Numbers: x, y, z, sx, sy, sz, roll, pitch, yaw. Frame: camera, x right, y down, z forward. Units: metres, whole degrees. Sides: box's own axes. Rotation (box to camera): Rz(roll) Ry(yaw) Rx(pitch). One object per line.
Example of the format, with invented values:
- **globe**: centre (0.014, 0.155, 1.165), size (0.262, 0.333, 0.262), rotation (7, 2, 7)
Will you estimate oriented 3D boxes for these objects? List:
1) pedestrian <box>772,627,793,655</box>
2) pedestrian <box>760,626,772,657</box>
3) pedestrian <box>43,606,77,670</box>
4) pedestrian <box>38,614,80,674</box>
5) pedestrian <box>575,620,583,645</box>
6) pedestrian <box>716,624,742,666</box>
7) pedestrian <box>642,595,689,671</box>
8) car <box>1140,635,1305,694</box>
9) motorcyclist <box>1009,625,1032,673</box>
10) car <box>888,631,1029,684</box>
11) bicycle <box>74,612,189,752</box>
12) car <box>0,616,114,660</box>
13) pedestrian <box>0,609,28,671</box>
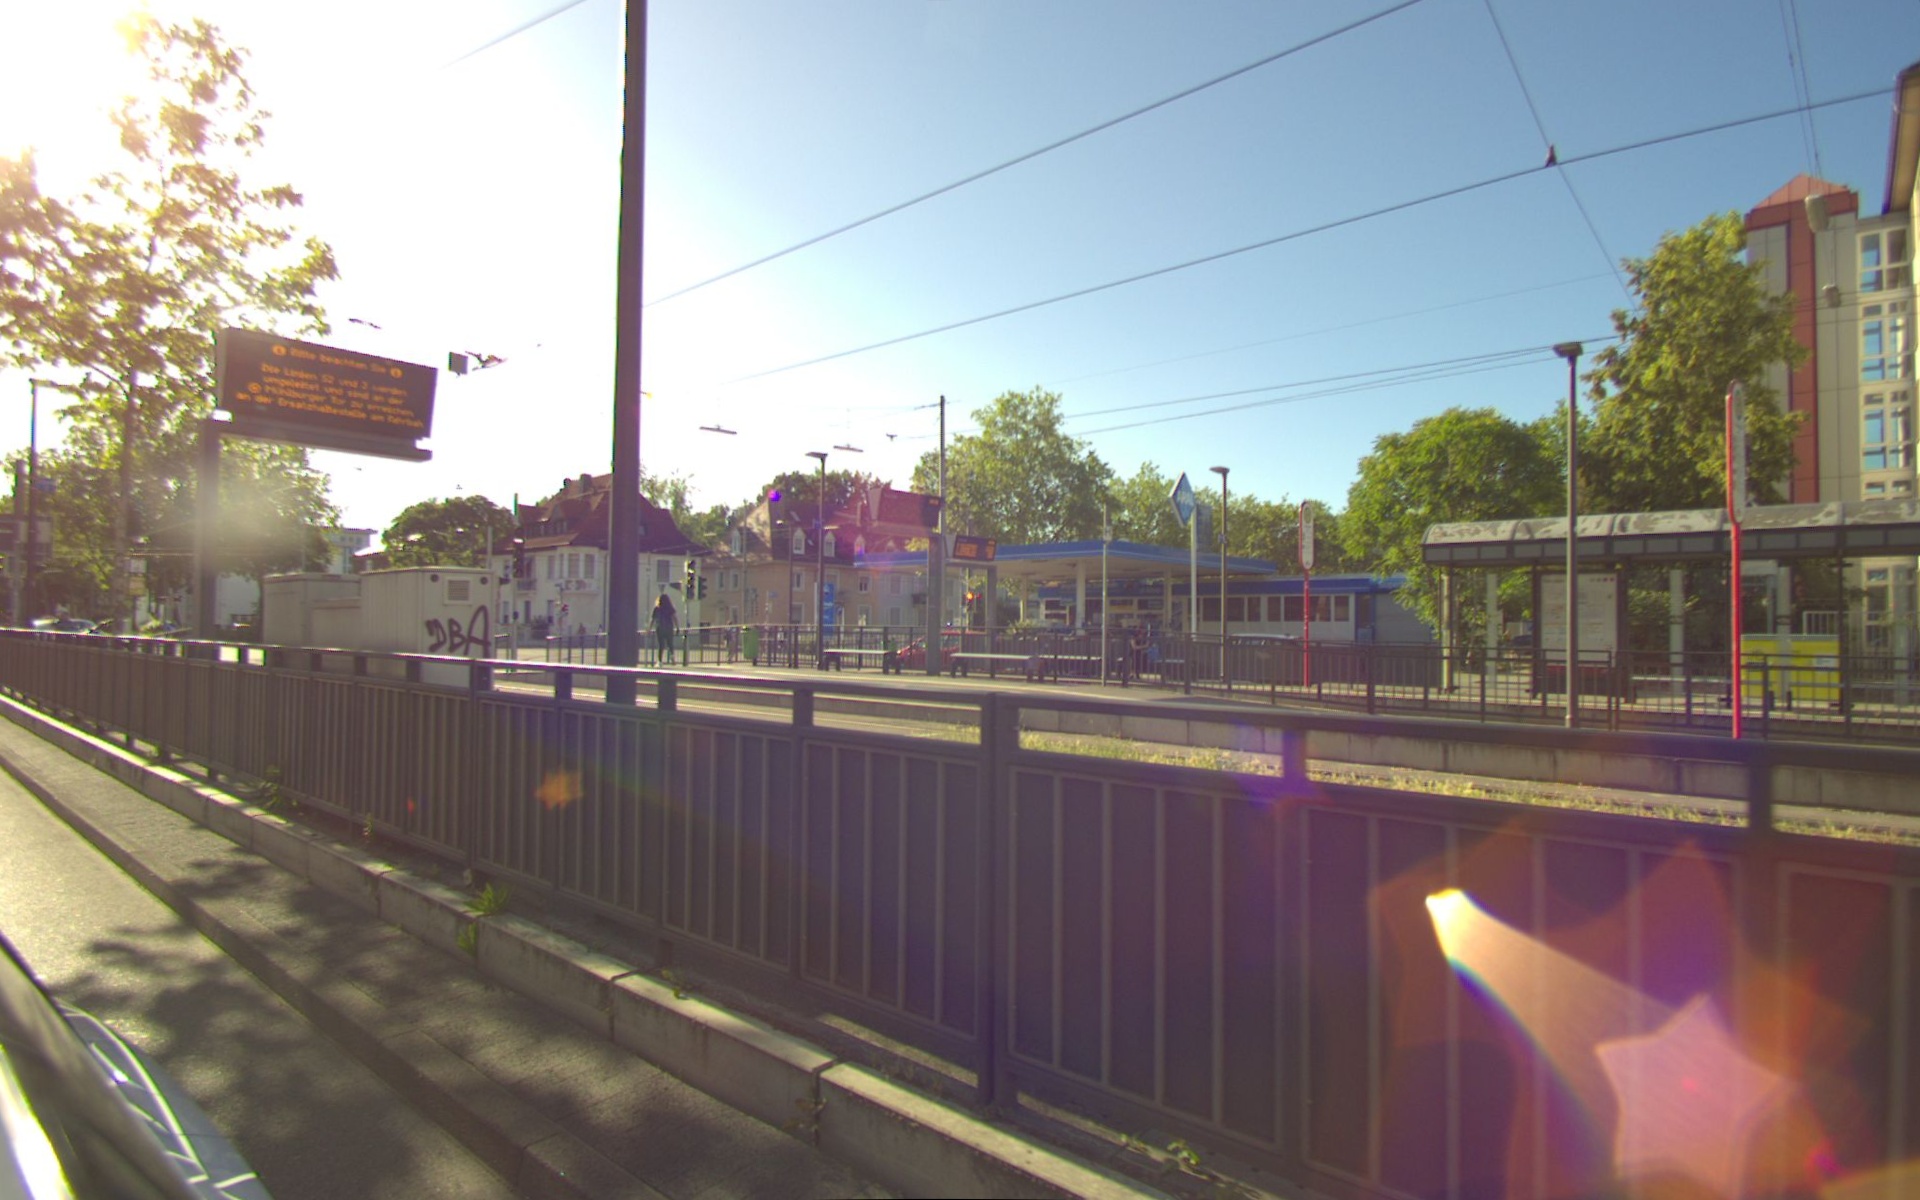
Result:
- **pedestrian**: centre (-9.611, 2.238, 54.822), size (0.800, 1.495, 0.758), rotation (-1, -2, 39)
- **pedestrian**: centre (-10.969, 2.345, 57.251), size (0.486, 1.783, 0.523), rotation (1, -2, -37)
- **pedestrian**: centre (-26.465, 1.122, 29.759), size (0.808, 1.846, 0.642), rotation (-1, -2, 44)
- **pedestrian**: centre (-25.868, 1.249, 29.046), size (1.008, 1.703, 0.792), rotation (-1, -2, 44)
- **pedestrian**: centre (-27.419, 2.326, 72.809), size (0.408, 1.756, 0.411), rotation (-1, -2, 40)
- **pedestrian**: centre (-9.430, 1.838, 41.288), size (0.824, 1.703, 0.646), rotation (-1, -2, 33)
- **pedestrian**: centre (-6.365, 0.707, 21.884), size (0.735, 1.604, 0.677), rotation (-1, -2, 42)
- **car**: centre (7.060, 1.683, 27.450), size (4.000, 1.431, 1.778), rotation (-1, -2, 43)
- **motorcyclist**: centre (2.346, 1.895, 39.266), size (0.745, 1.866, 0.545), rotation (-1, -2, 45)
- **car**: centre (-0.095, 1.631, 29.572), size (4.000, 1.431, 1.778), rotation (-1, -2, 43)
- **bicycle**: centre (-9.060, 0.838, 11.036), size (2.169, 1.390, 0.632), rotation (-1, -2, 42)
- **car**: centre (-35.805, 1.441, 39.343), size (1.976, 1.616, 4.262), rotation (0, -1, 7)
- **pedestrian**: centre (-26.466, 1.094, 28.128), size (0.776, 1.703, 0.733), rotation (-1, -2, 44)
